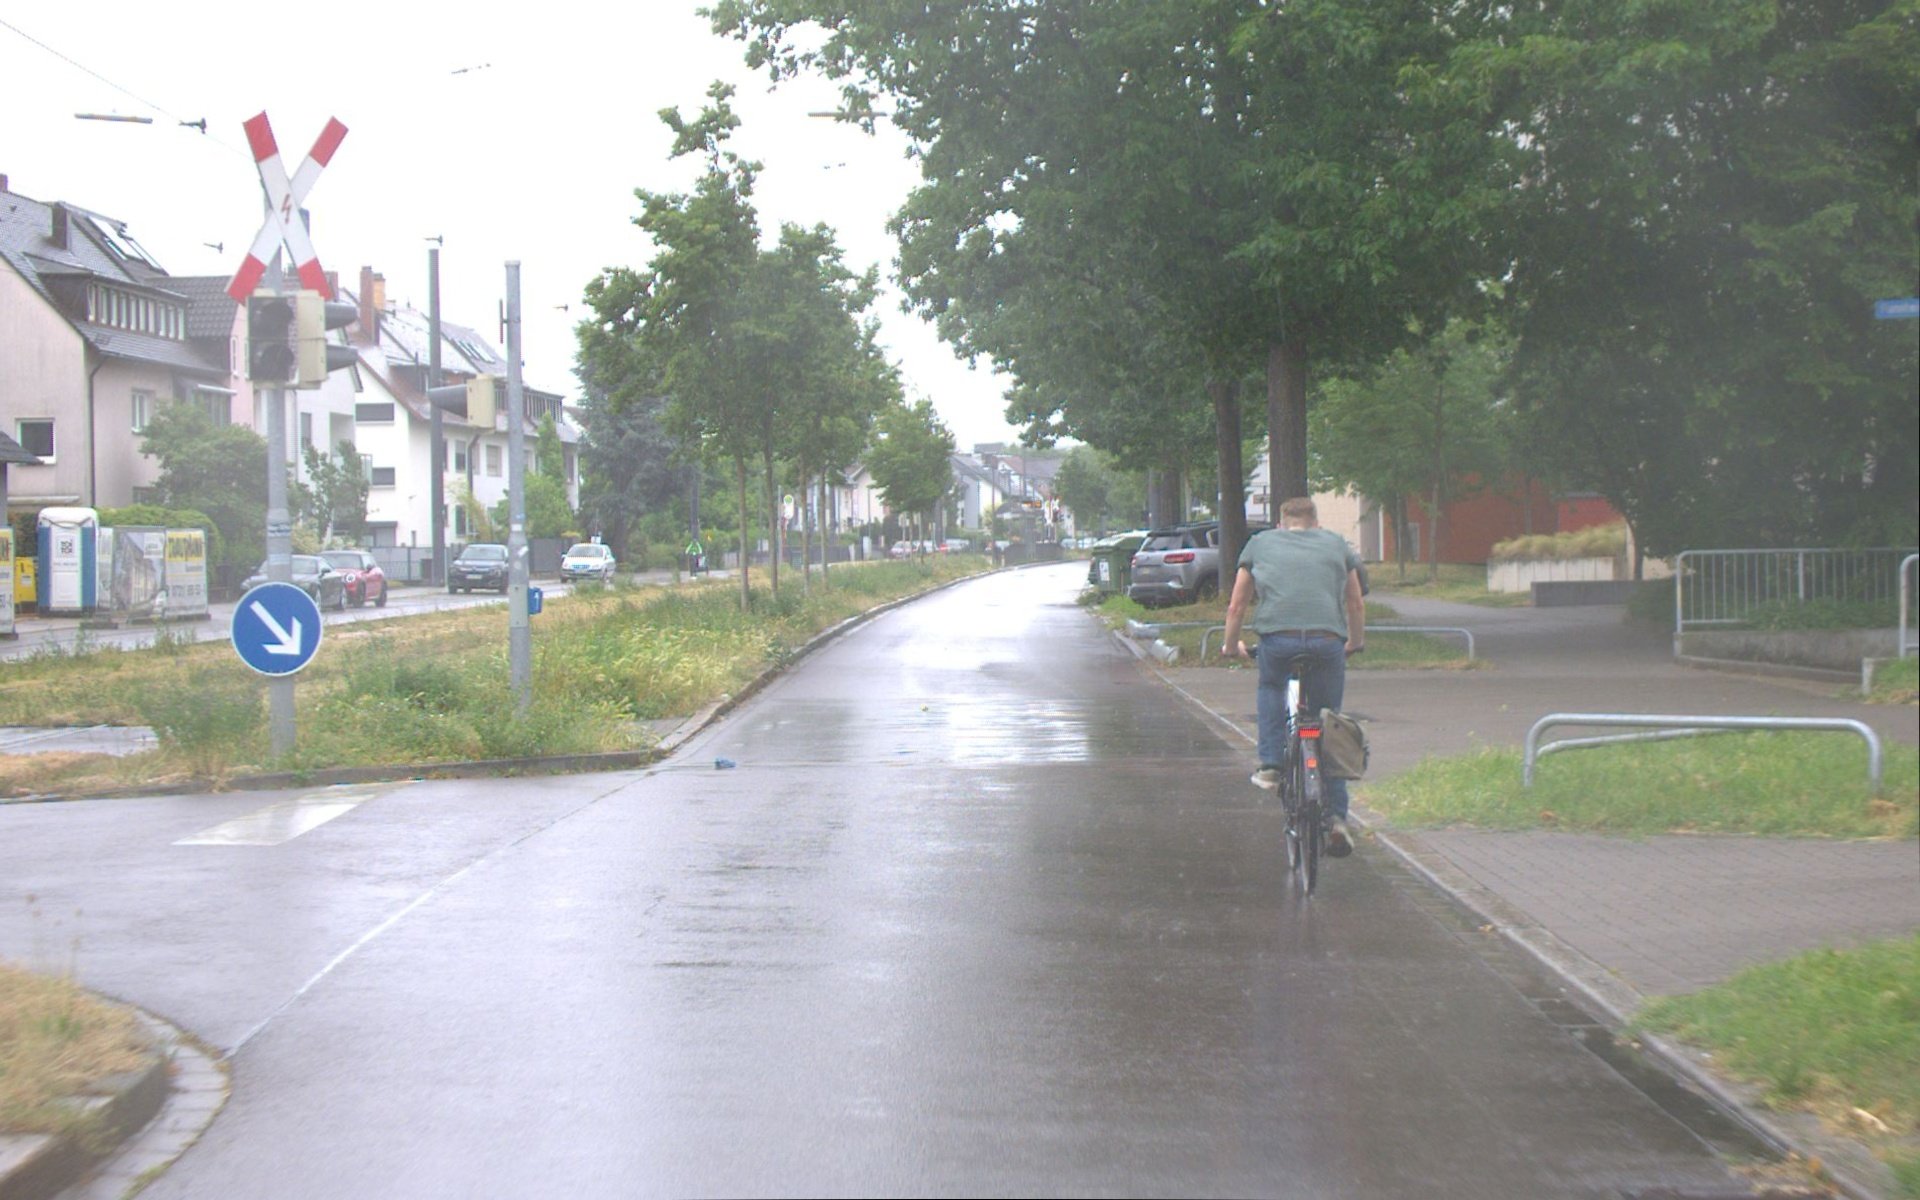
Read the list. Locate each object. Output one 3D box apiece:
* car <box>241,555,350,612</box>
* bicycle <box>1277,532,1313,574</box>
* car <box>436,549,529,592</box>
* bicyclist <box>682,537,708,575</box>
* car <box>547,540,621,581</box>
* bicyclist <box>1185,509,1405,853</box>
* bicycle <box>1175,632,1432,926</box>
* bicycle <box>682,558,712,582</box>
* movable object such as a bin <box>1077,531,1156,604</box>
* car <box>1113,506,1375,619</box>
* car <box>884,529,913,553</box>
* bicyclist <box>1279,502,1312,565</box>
[{"bbox_3d":[-15.611,-0.413,80.946,1.663,1.240,4.071,1,1,2],"label":"car"},{"bbox_3d":[8.600,-1.203,88.303,0.734,1.053,2.051,-1,1,1],"label":"bicycle"},{"bbox_3d":[-14.832,-0.938,107.064,1.897,1.240,4.687,2,1,4],"label":"car"},{"bbox_3d":[-11.941,-1.987,154.751,1.018,1.679,1.092,-1,1,1],"label":"bicyclist"},{"bbox_3d":[-14.085,-1.510,129.134,1.897,1.464,4.687,2,1,4],"label":"car"},{"bbox_3d":[1.443,0.331,14.965,0.809,1.428,1.060,-1,1,-1],"label":"bicyclist"},{"bbox_3d":[1.456,0.729,15.037,0.809,1.093,2.517,-1,1,-1],"label":"bicycle"},{"bbox_3d":[-11.901,-1.359,155.475,1.018,1.024,3.197,-1,1,1],"label":"bicycle"},{"bbox_3d":[3.374,-0.713,74.370,1.125,1.452,1.401,-7,3,-19],"label":"movable object such as a bin"},{"bbox_3d":[5.022,-0.674,60.739,4.135,1.713,2.000,-4,2,-30],"label":"car"},{"bbox_3d":[-4.427,-4.276,248.213,1.843,1.666,4.000,-1,1,2],"label":"car"},{"bbox_3d":[8.603,-1.705,88.271,0.734,1.588,0.944,-1,1,1],"label":"bicyclist"}]
